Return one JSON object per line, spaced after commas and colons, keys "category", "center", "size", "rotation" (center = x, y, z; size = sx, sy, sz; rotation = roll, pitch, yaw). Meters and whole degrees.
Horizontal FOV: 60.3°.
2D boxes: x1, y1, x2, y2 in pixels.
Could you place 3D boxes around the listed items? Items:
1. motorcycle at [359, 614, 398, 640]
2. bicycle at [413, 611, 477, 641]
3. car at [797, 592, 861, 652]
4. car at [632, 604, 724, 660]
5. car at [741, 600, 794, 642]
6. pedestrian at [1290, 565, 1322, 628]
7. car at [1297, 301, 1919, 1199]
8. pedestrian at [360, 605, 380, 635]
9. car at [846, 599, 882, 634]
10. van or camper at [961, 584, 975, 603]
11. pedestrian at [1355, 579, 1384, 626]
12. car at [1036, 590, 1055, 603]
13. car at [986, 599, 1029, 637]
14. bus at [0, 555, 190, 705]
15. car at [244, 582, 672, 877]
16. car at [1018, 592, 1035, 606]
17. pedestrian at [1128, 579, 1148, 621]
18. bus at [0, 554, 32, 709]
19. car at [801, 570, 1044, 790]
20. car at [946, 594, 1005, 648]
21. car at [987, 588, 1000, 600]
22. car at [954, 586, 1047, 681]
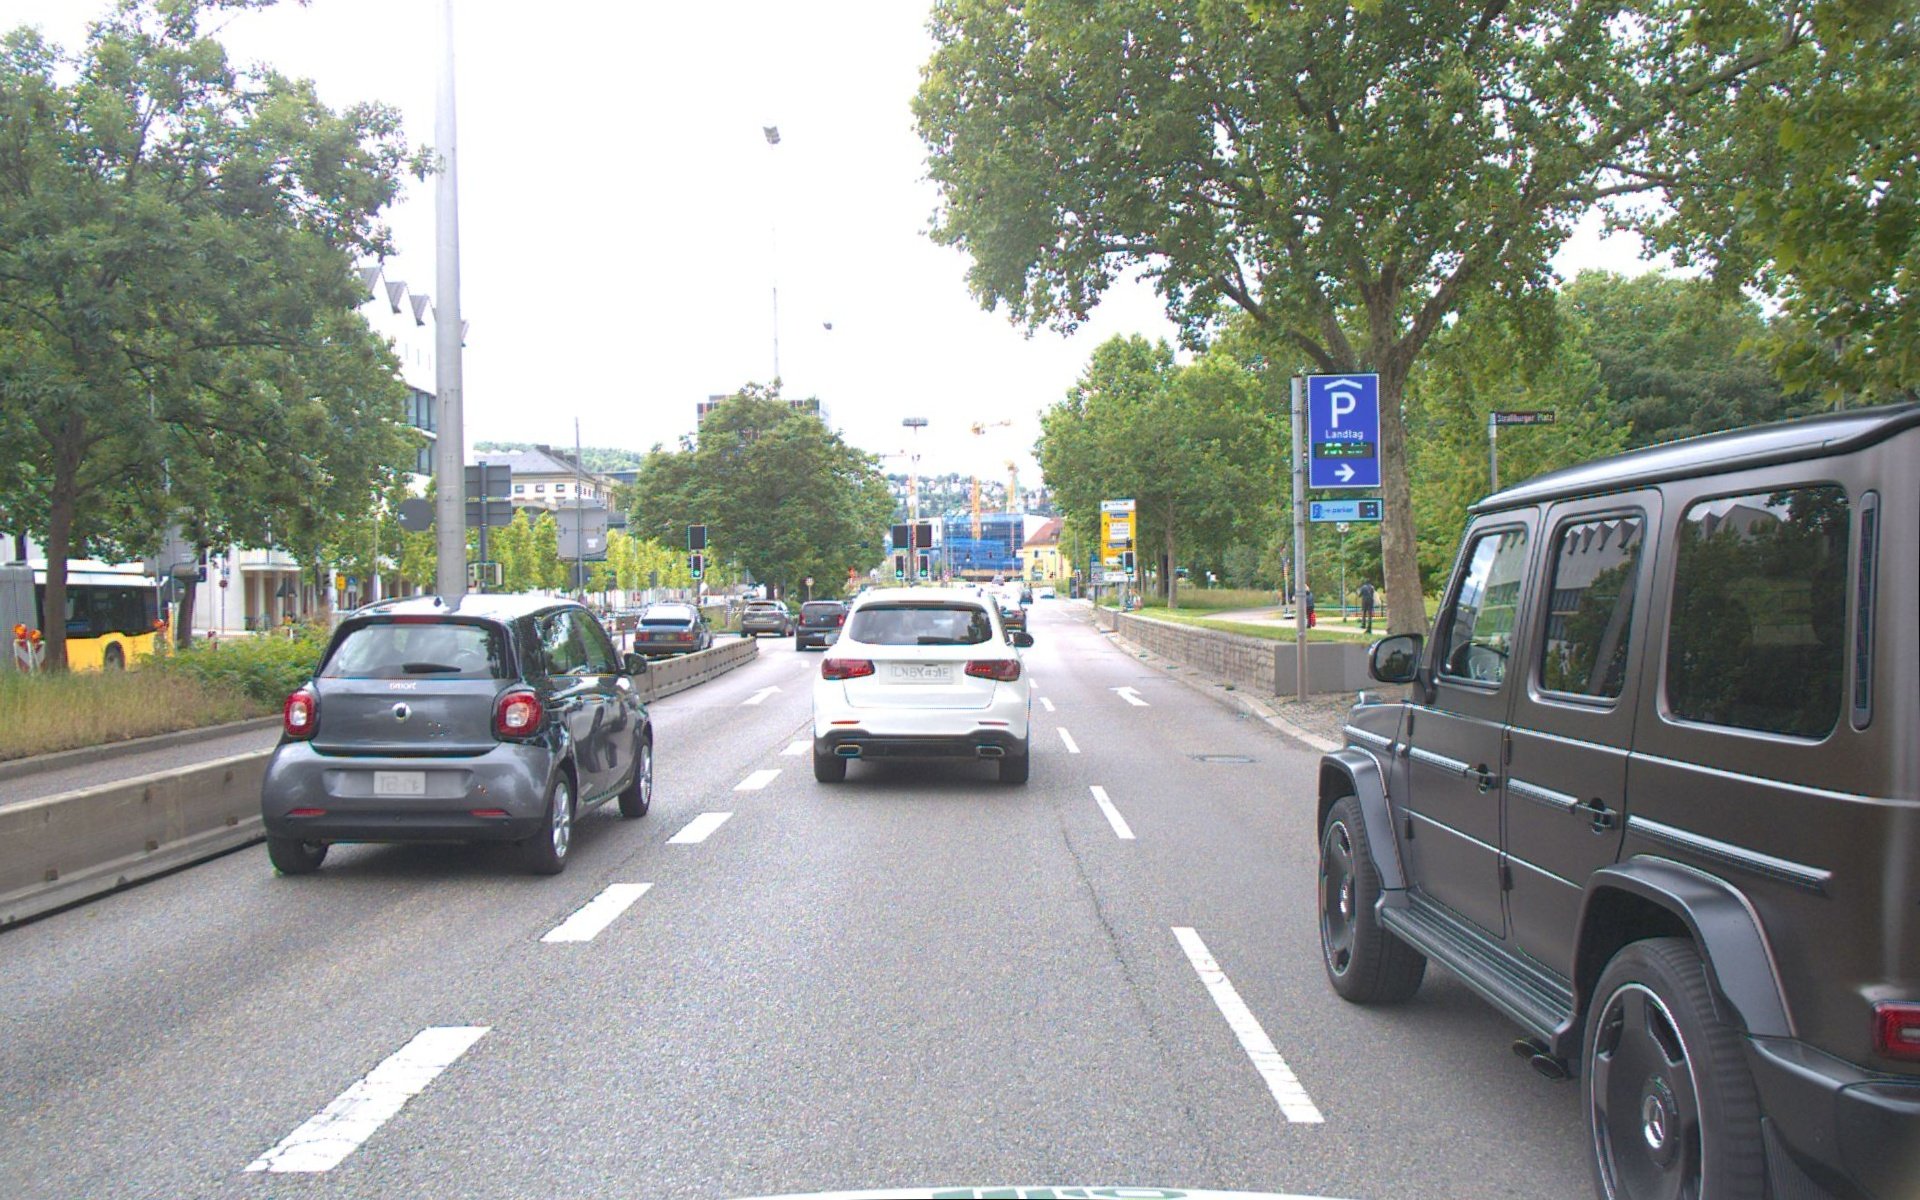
{"category": "motorcycle", "center": [-30.637, 1.422, 87.152], "size": [1.859, 1.255, 0.653], "rotation": [-1, -2, -25]}
{"category": "bicycle", "center": [-31.895, 1.607, 102.406], "size": [3.540, 1.713, 1.182], "rotation": [-2, 0, -1]}
{"category": "car", "center": [-3.917, 0.635, 49.985], "size": [1.684, 1.708, 3.999], "rotation": [1, 0, -1]}
{"category": "car", "center": [-7.049, 0.774, 41.662], "size": [1.684, 1.315, 3.999], "rotation": [1, 0, -1]}
{"category": "car", "center": [-7.735, 0.827, 66.781], "size": [1.717, 1.580, 3.999], "rotation": [1, 0, -1]}
{"category": "pedestrian", "center": [11.445, -0.114, 54.684], "size": [0.838, 2.049, 0.815], "rotation": [1, -2, -2]}
{"category": "car", "center": [2.511, 0.509, 4.907], "size": [1.937, 1.926, 4.705], "rotation": [1, -1, -1]}
{"category": "pedestrian", "center": [-32.036, 1.097, 89.829], "size": [0.875, 1.584, 0.589], "rotation": [-1, 0, -42]}
{"category": "car", "center": [-4.603, 0.760, 79.430], "size": [1.685, 1.612, 3.997], "rotation": [1, 0, -3]}
{"category": "van or camper", "center": [1.049, -0.792, 218.535], "size": [1.883, 2.360, 3.999], "rotation": [0, -2, 0]}
{"category": "pedestrian", "center": [13.617, 0.089, 54.982], "size": [0.770, 1.553, 0.683], "rotation": [1, -1, 1]}
{"category": "car", "center": [11.494, -0.461, 222.672], "size": [1.954, 1.646, 3.996], "rotation": [1, -1, -4]}
{"category": "car", "center": [2.089, 0.764, 73.629], "size": [1.684, 1.612, 3.999], "rotation": [1, 0, -1]}
{"category": "bus", "center": [-22.357, 0.718, 41.049], "size": [2.863, 3.361, 7.705], "rotation": [-1, 0, 0]}
{"category": "car", "center": [-2.941, 0.701, 10.441], "size": [1.594, 1.535, 3.539], "rotation": [0, -1, 0]}
{"category": "car", "center": [7.786, -0.156, 193.526], "size": [1.684, 1.612, 3.999], "rotation": [1, 0, -1]}
{"category": "pedestrian", "center": [7.287, 0.012, 67.751], "size": [0.683, 1.685, 0.684], "rotation": [1, -1, 0]}
{"category": "bus", "center": [-22.280, 0.700, 31.979], "size": [2.853, 3.363, 10.447], "rotation": [-1, 0, -1]}
{"category": "car", "center": [-0.311, 0.663, 15.199], "size": [1.901, 1.713, 3.999], "rotation": [1, -1, -1]}
{"category": "car", "center": [0.445, 0.630, 51.968], "size": [1.684, 1.612, 3.999], "rotation": [1, 0, -1]}
{"category": "car", "center": [4.898, -0.851, 240.762], "size": [1.684, 1.612, 3.999], "rotation": [1, 0, -1]}
{"category": "car", "center": [0.756, 0.629, 31.479], "size": [1.638, 1.656, 4.000], "rotation": [1, -1, 1]}
